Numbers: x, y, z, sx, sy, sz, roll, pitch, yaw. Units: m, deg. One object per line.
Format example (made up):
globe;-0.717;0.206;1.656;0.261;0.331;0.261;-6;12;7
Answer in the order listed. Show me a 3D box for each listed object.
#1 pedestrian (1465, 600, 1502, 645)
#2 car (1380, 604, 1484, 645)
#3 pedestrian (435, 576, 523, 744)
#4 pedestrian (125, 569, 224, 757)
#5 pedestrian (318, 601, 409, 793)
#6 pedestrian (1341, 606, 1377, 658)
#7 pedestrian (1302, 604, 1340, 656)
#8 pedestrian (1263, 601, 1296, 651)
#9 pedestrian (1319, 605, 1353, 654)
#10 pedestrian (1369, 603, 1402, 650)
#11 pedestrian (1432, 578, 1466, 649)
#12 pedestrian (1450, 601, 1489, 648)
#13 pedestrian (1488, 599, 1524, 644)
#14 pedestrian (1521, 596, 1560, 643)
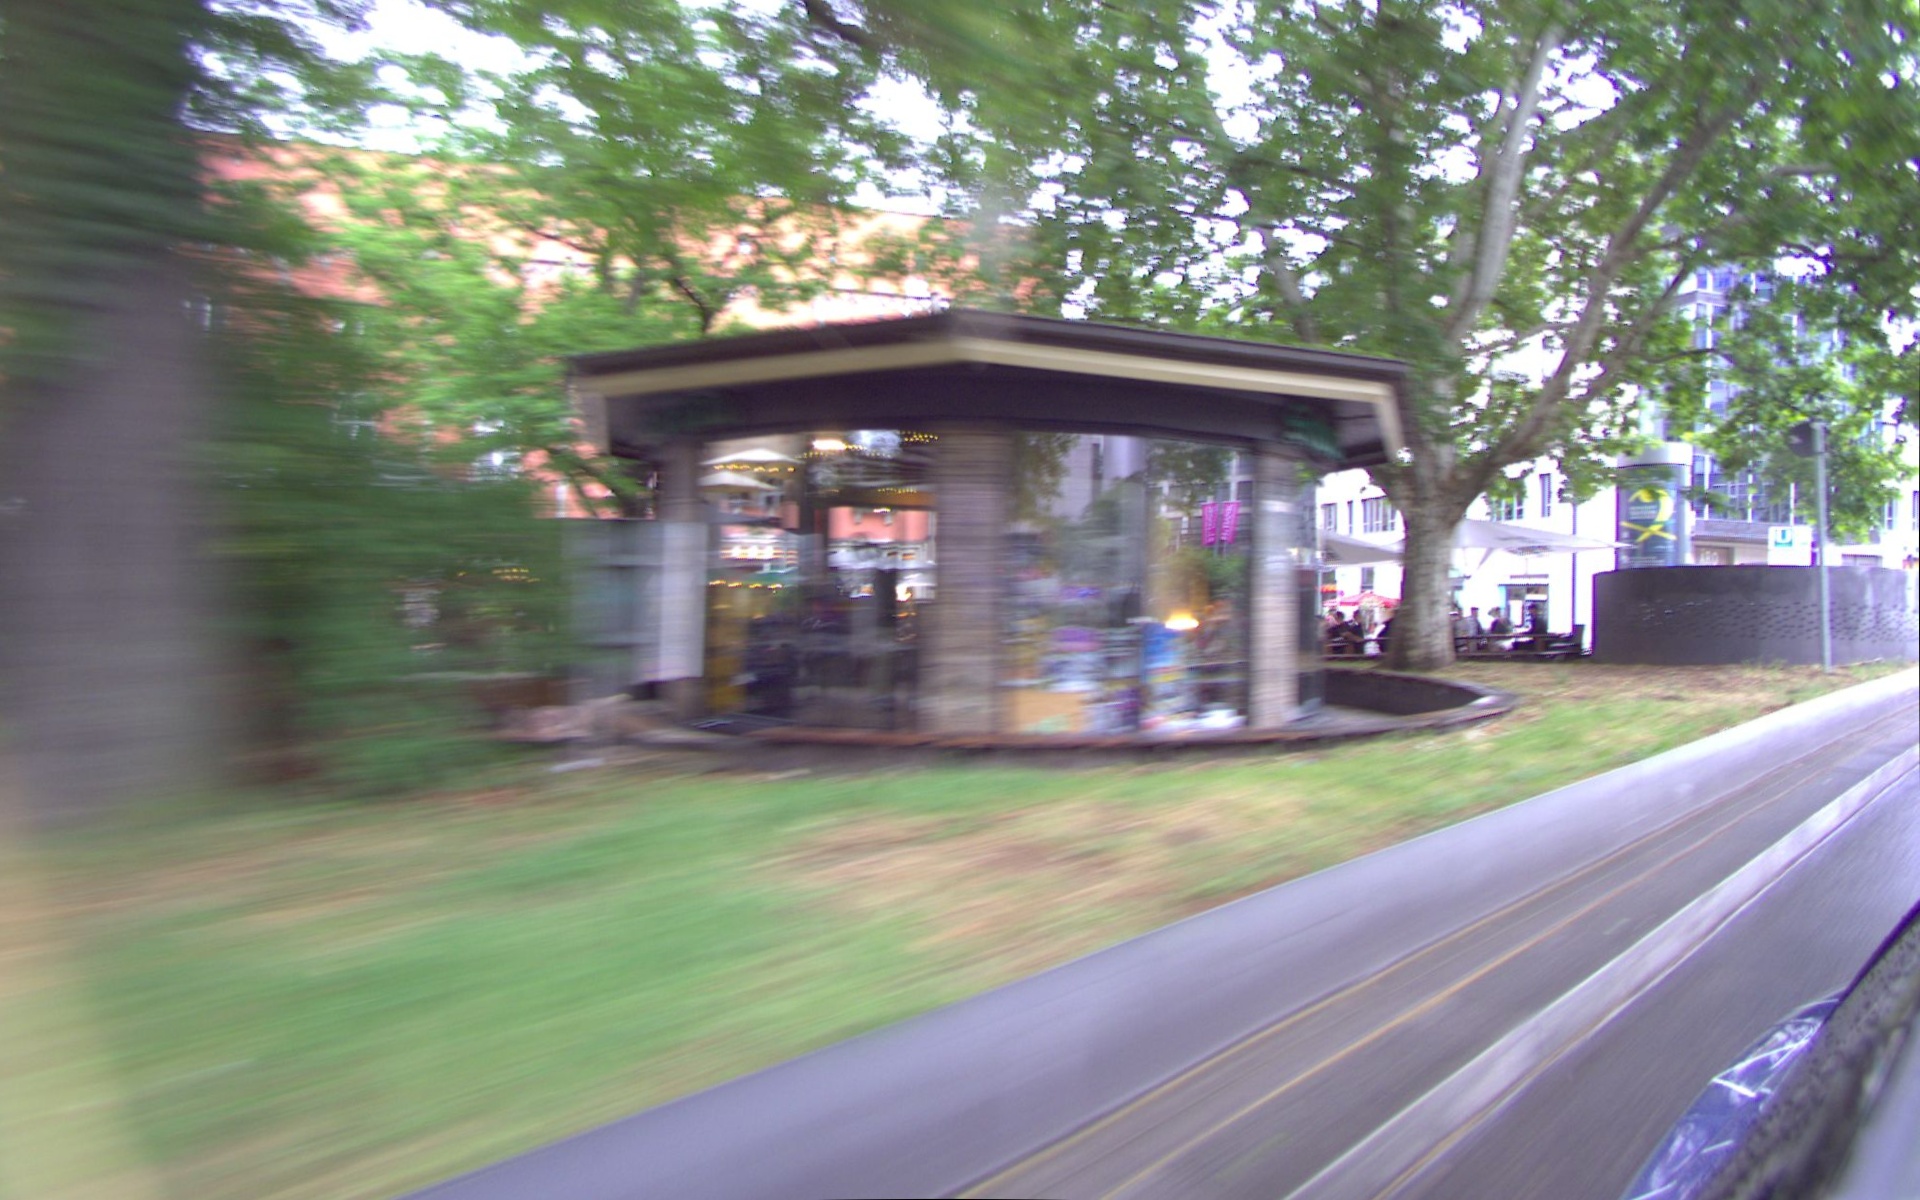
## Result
pedestrian;10.484;0.447;20.277;0.566;0.883;0.506;0;1;19
car;19.120;0.949;41.168;1.617;1.459;3.897;1;1;-16
pedestrian;-5.031;0.616;10.609;0.669;1.702;0.571;-1;-1;-2
pedestrian;-7.981;0.627;10.300;0.629;1.859;0.499;-1;-1;-4
pedestrian;-4.642;0.728;7.886;0.338;1.436;0.518;-1;-1;19
pedestrian;7.096;0.558;18.030;0.566;0.883;0.506;0;1;19
pedestrian;6.350;0.515;17.837;0.618;0.883;0.506;0;1;19
pedestrian;5.873;0.467;18.567;0.566;0.883;0.506;0;1;19
pedestrian;6.957;0.543;18.736;0.566;0.883;0.506;0;1;19
pedestrian;8.405;0.514;19.998;0.566;0.883;0.563;0;1;19
pedestrian;9.053;0.237;18.745;0.523;1.292;0.401;0;0;20
pedestrian;9.824;0.464;19.547;0.566;0.883;0.738;0;1;19
pedestrian;11.187;0.435;20.740;0.566;0.883;0.506;0;1;19
pedestrian;11.322;0.369;19.756;0.566;0.883;0.506;0;1;19
